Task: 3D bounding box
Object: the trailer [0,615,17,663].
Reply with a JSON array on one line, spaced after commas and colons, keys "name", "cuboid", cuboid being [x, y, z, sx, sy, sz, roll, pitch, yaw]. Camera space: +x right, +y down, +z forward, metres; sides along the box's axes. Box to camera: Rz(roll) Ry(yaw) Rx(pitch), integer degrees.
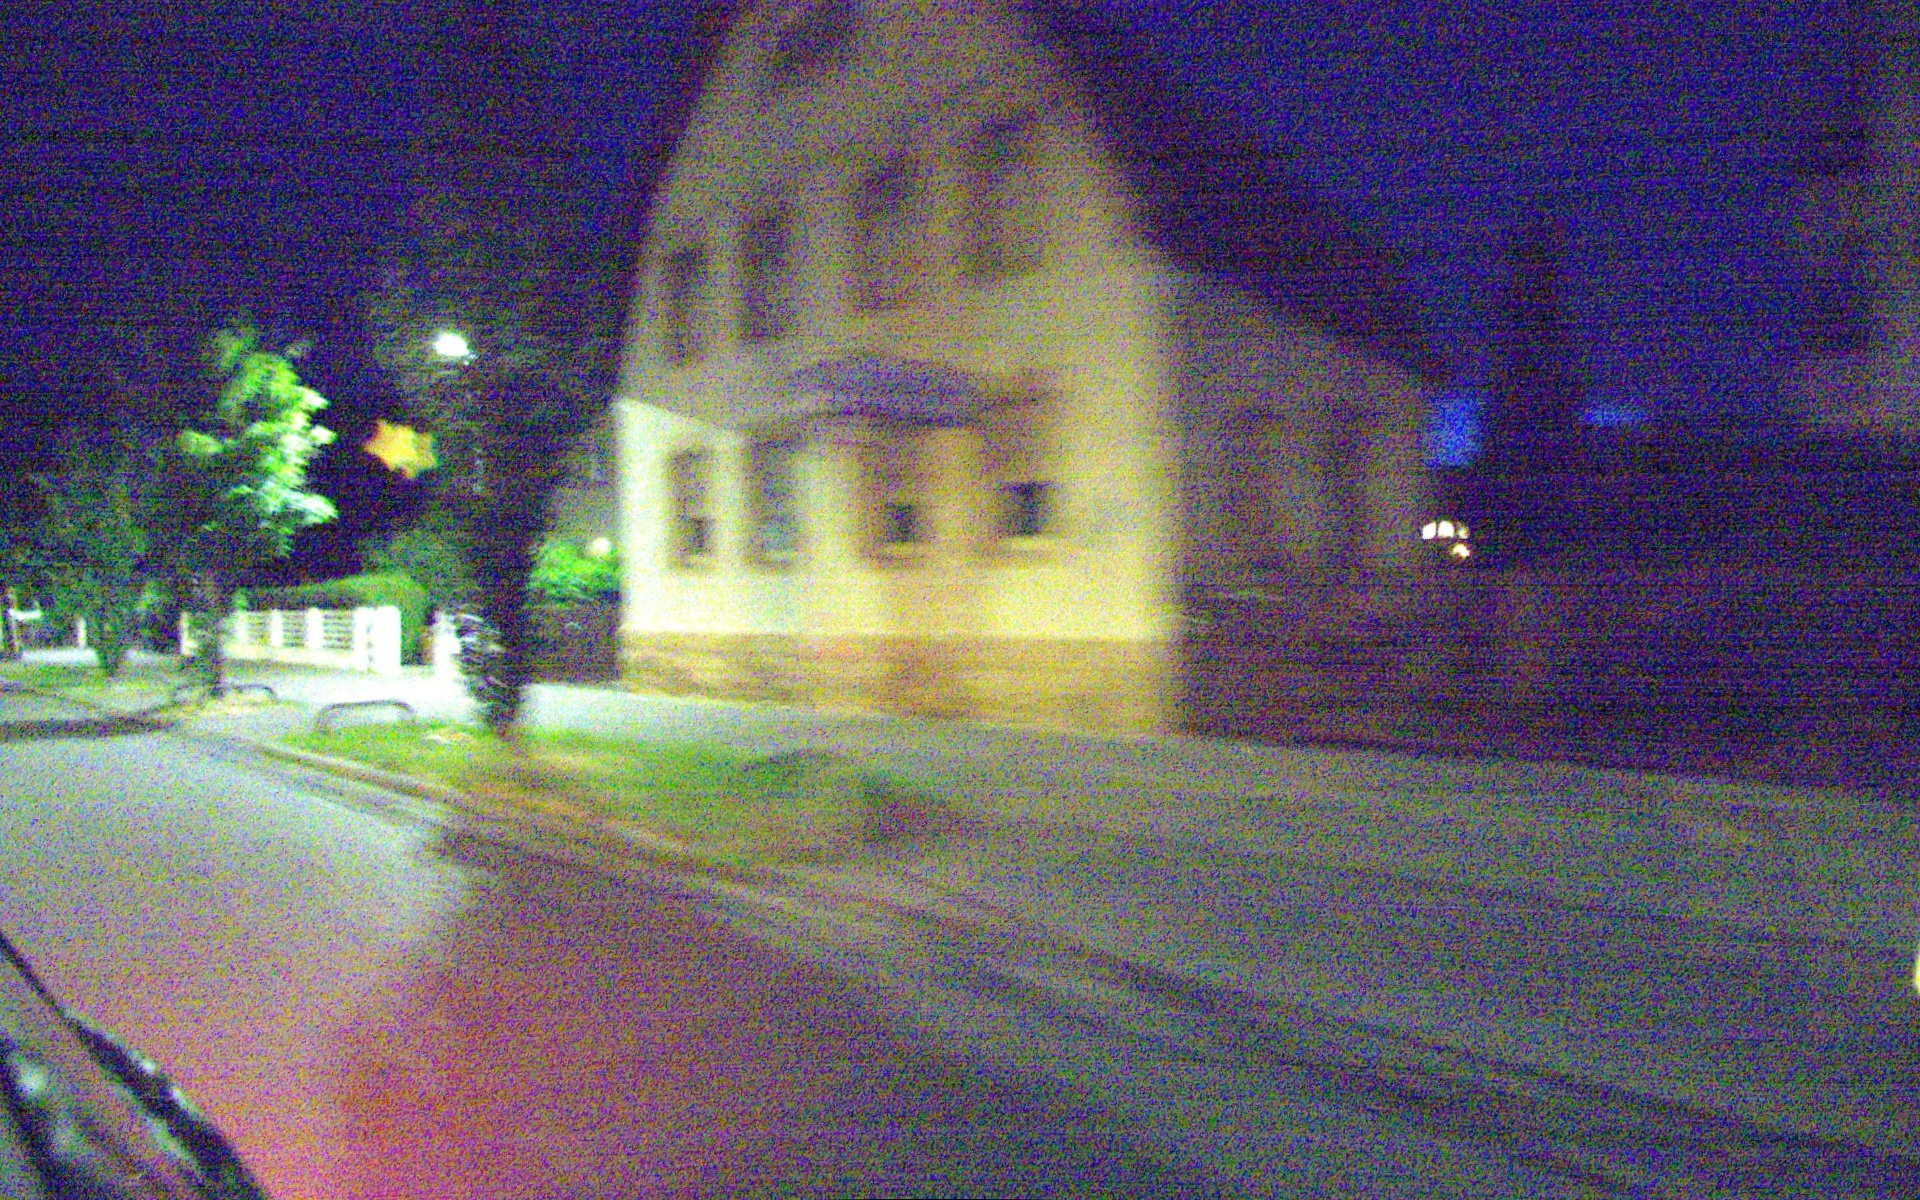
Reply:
[{"name": "trailer", "cuboid": [-35.942, 1.466, 37.313, 3.426, 1.700, 1.432, -1, 2, 44]}]
